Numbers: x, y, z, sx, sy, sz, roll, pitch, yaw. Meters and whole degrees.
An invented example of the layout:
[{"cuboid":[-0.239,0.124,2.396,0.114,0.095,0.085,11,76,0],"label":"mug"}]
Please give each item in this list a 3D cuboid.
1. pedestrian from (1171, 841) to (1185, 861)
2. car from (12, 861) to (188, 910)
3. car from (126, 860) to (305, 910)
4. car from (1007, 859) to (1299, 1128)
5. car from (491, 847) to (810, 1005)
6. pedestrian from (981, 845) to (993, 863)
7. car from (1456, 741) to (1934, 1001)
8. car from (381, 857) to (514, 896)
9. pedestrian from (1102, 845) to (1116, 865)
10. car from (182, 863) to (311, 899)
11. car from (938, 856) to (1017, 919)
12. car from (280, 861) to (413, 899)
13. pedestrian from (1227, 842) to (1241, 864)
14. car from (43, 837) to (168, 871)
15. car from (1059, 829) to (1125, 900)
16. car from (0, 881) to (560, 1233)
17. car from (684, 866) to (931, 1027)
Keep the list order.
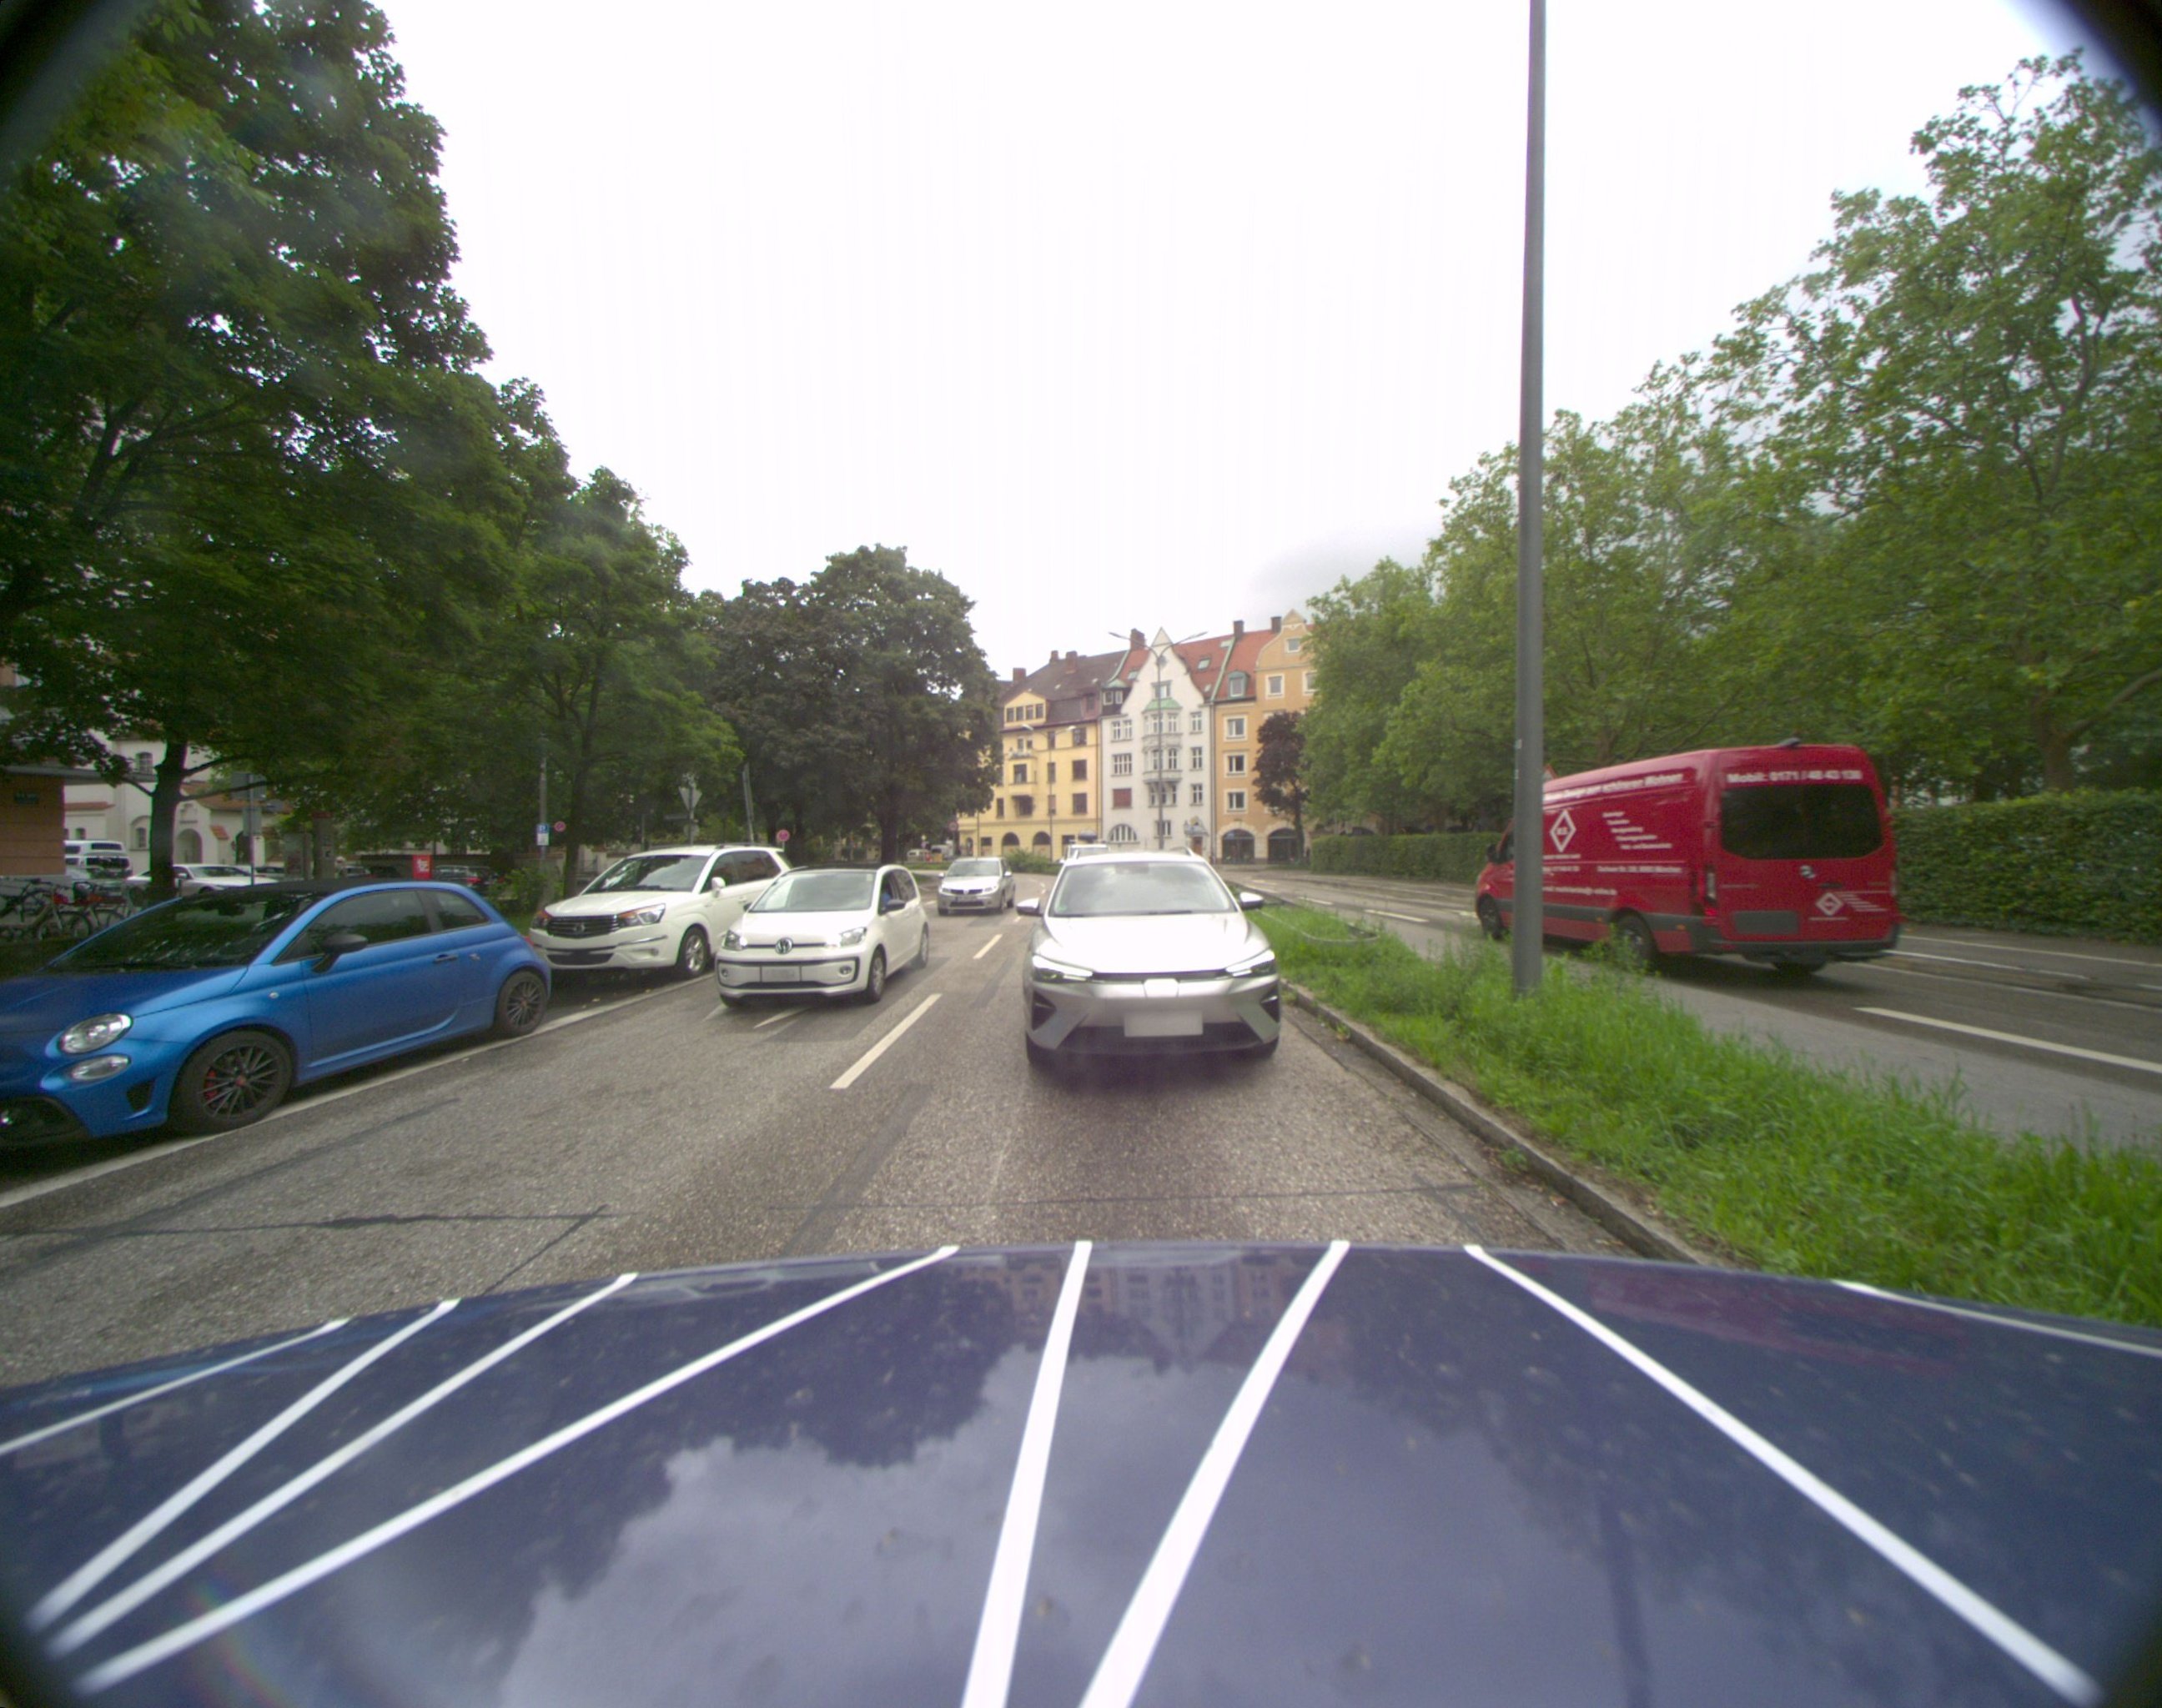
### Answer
[{"cuboid":[9.518,-0.300,74.807,1.005,2.002,0.880,-1,2,32],"label":"pedestrian"},{"cuboid":[-34.109,1.092,26.468,4.436,1.458,1.862,-2,1,10],"label":"car"},{"cuboid":[-29.050,1.024,25.552,4.436,1.458,1.862,-2,1,10],"label":"car"},{"cuboid":[0.427,0.837,6.413,1.710,1.521,3.886,0,0,0],"label":"car"},{"cuboid":[-5.940,0.833,11.423,1.848,1.845,5.024,0,0,1],"label":"car"},{"cuboid":[-10.829,-0.034,87.791,1.005,2.002,0.880,-1,2,32],"label":"pedestrian"},{"cuboid":[7.627,0.202,10.645,2.108,2.573,6.083,0,-1,4],"label":"car"},{"cuboid":[-27.133,0.940,32.598,4.436,1.458,1.862,-2,1,10],"label":"car"},{"cuboid":[2.863,0.062,77.996,1.005,2.002,0.880,-1,2,32],"label":"pedestrian"},{"cuboid":[-38.464,1.232,35.074,4.436,1.458,1.862,-2,1,10],"label":"car"},{"cuboid":[-2.747,0.852,20.912,1.648,1.521,3.886,0,0,0],"label":"car"},{"cuboid":[-32.178,1.116,33.329,4.436,1.458,1.862,-2,1,10],"label":"car"},{"cuboid":[14.430,-0.119,71.707,1.005,2.002,0.880,-1,2,32],"label":"pedestrian"},{"cuboid":[-47.970,-0.020,37.401,4.436,1.458,1.862,-2,1,10],"label":"car"},{"cuboid":[0.498,0.337,27.866,1.911,2.337,4.947,0,0,7],"label":"car"},{"cuboid":[-5.811,1.046,5.479,1.523,1.540,3.662,0,0,1],"label":"car"},{"cuboid":[-2.991,0.922,9.128,1.648,1.457,3.619,0,0,0],"label":"car"}]
